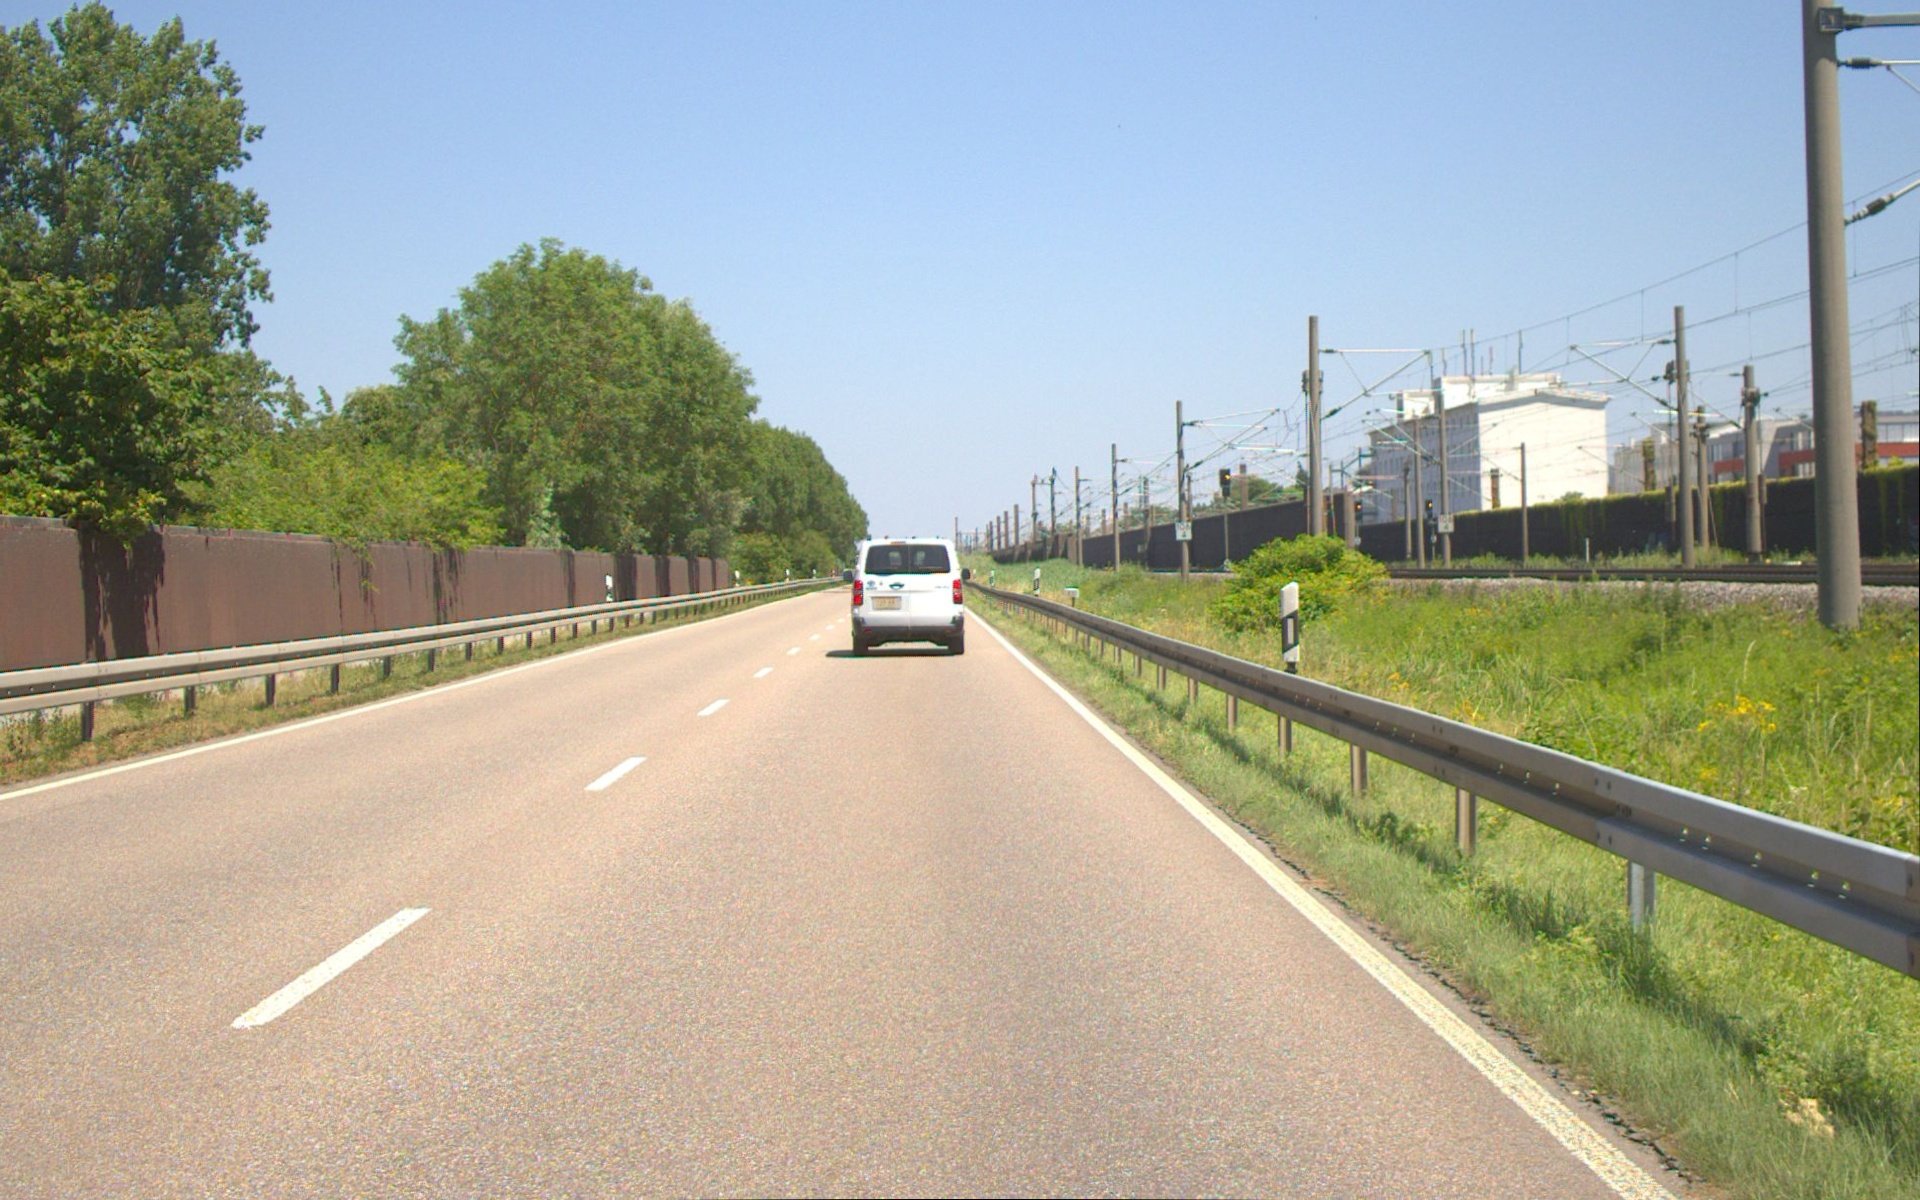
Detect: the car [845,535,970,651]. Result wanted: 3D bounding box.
[{"bbox_3d":[-0.870,-0.130,57.490,1.993,1.844,4.000,1,1,-1],"label":"car"}]
